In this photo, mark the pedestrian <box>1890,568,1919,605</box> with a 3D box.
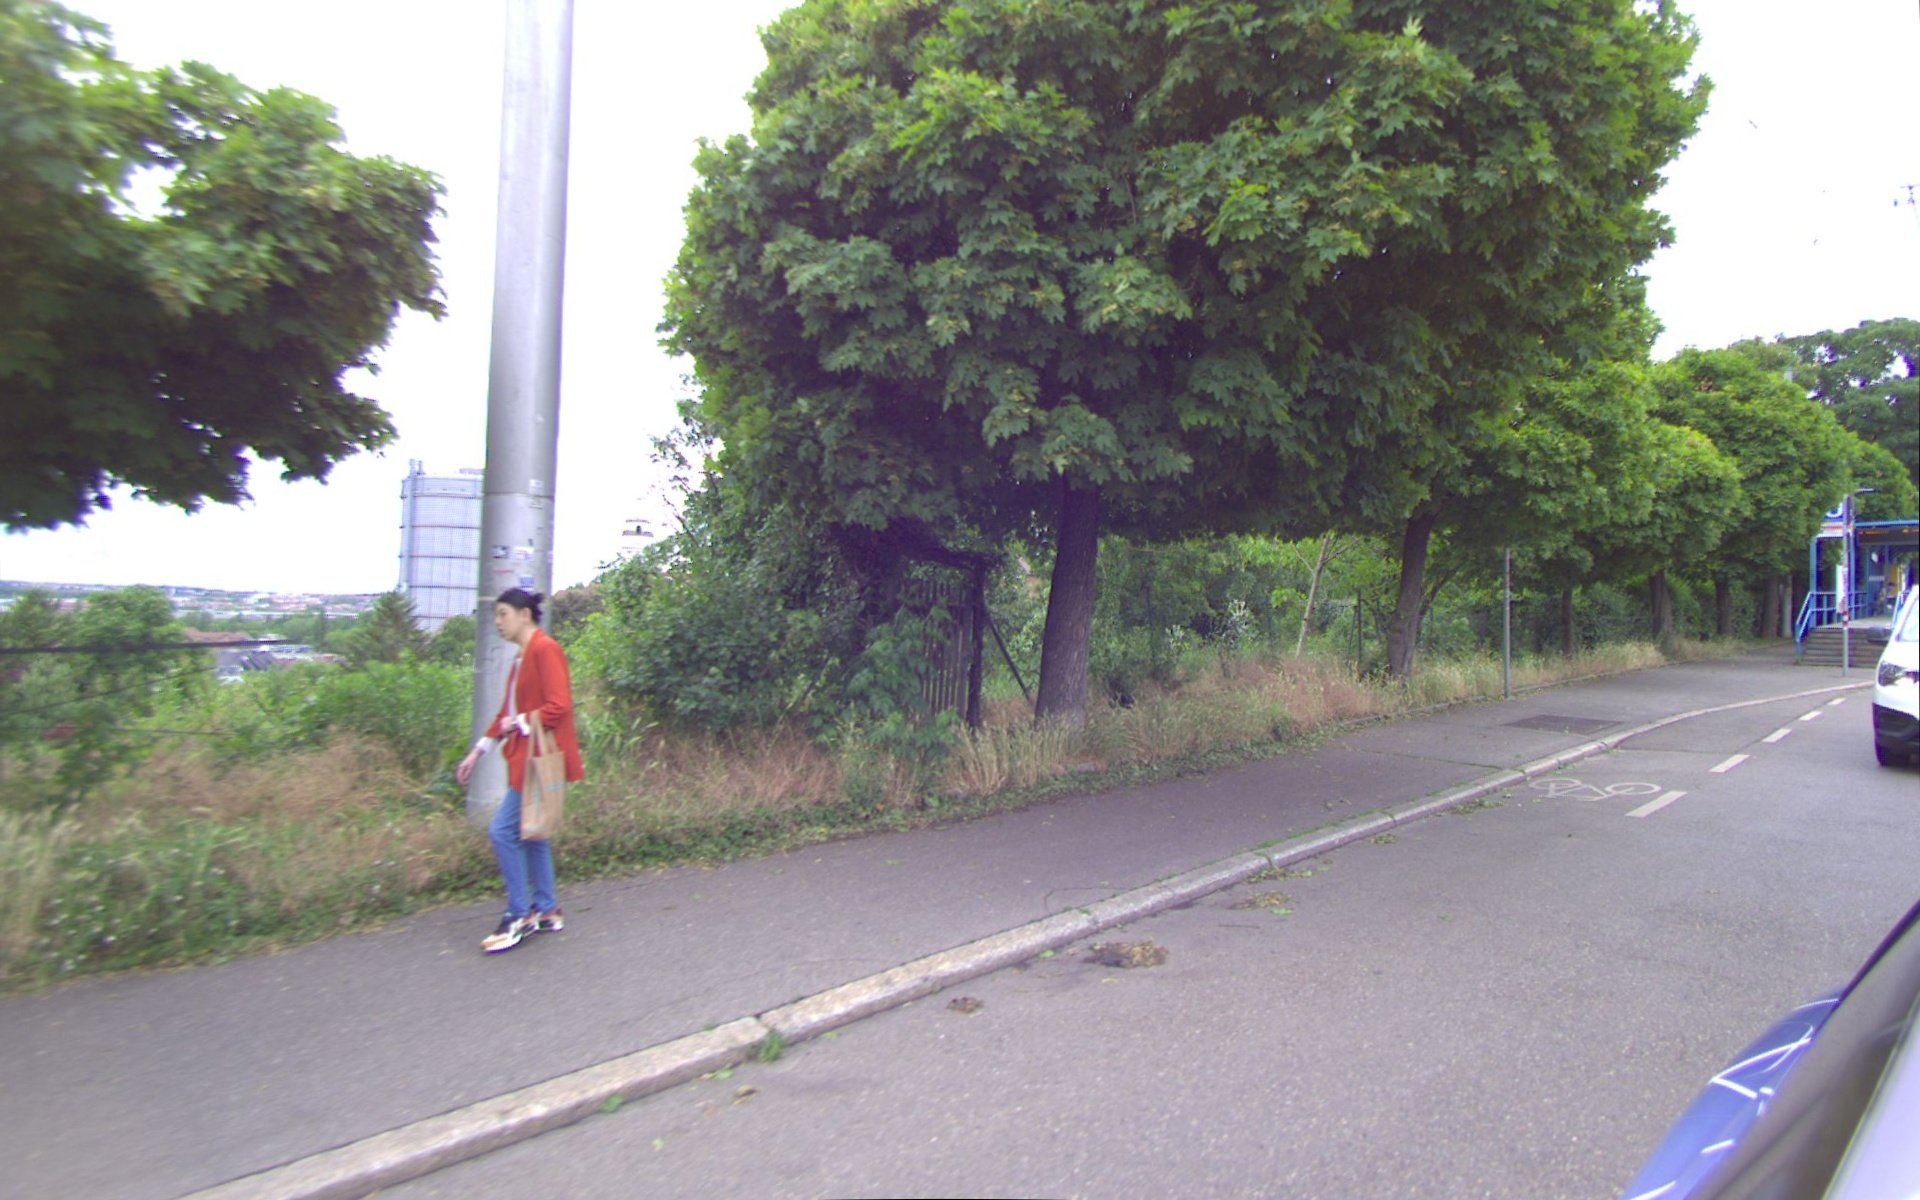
[{"bbox_3d":[34.804,-0.502,37.267,0.646,1.331,0.780,0,-1,-43],"label":"pedestrian"}]

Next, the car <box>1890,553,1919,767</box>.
[{"bbox_3d":[10.499,0.529,9.854,4.344,1.885,1.728,0,-1,-42],"label":"car"}]

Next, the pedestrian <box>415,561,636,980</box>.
[{"bbox_3d":[-1.927,0.665,4.478,0.706,1.641,0.715,0,-1,-43],"label":"pedestrian"}]
